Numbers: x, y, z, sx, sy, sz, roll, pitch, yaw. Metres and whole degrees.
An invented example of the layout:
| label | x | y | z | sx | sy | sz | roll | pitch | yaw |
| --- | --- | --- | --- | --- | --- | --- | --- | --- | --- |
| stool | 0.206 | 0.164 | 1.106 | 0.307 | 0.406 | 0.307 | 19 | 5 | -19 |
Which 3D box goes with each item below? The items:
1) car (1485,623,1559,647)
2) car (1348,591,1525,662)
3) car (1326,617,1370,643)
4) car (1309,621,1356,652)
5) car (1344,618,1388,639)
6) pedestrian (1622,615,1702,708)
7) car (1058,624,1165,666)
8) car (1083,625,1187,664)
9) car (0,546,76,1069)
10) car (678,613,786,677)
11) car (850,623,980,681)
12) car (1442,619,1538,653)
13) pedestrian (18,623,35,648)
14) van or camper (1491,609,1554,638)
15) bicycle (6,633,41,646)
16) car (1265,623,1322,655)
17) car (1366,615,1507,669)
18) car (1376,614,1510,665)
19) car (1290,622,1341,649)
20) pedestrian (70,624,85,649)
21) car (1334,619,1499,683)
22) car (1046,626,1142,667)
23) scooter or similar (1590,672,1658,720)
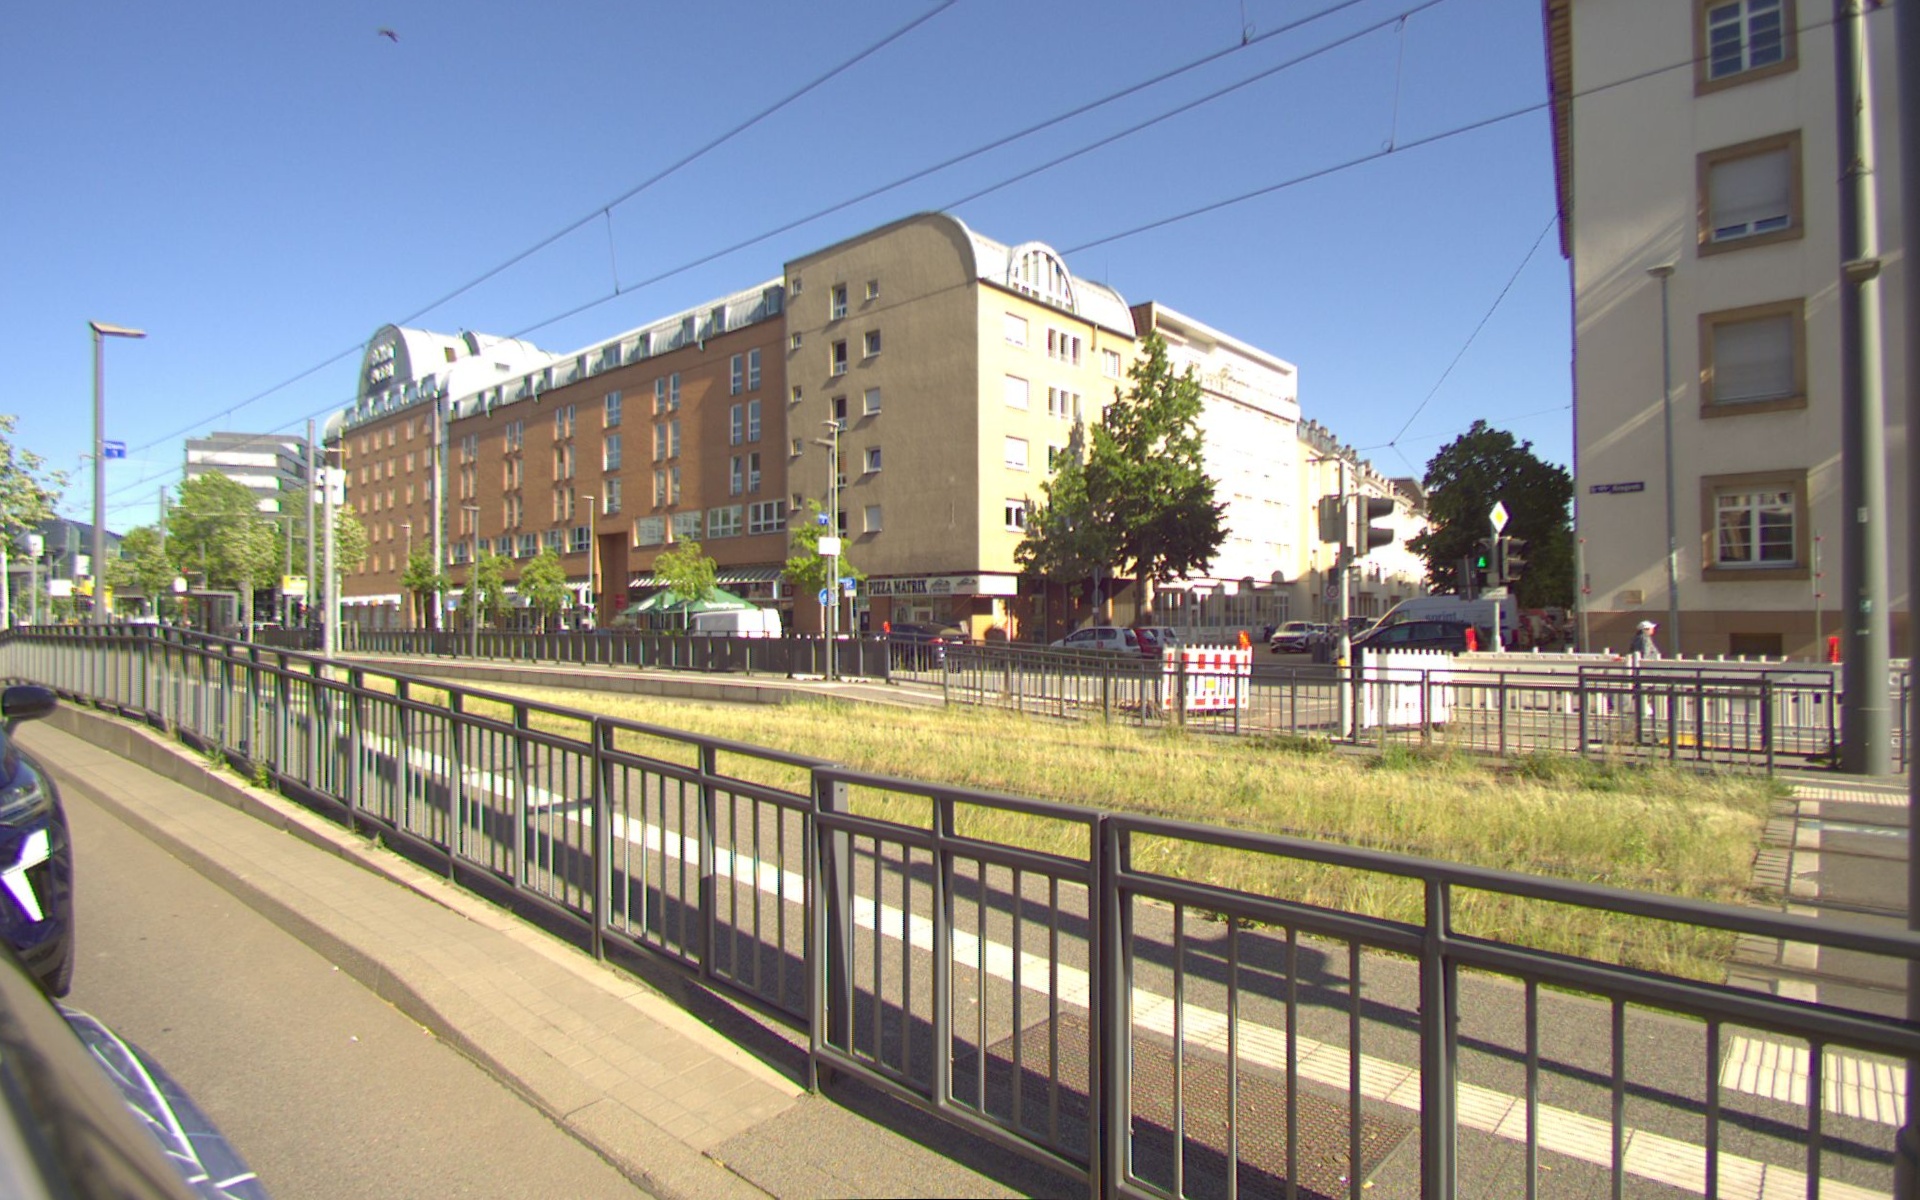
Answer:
| label | x | y | z | sx | sy | sz | roll | pitch | yaw |
| --- | --- | --- | --- | --- | --- | --- | --- | --- | --- |
| car | 35.009 | 2.160 | 63.060 | 3.986 | 1.440 | 1.760 | -1 | 0 | 32 |
| car | 17.641 | 0.957 | 37.591 | 5.737 | 2.473 | 1.979 | -1 | 0 | 32 |
| car | 25.291 | 1.969 | 65.875 | 1.993 | 1.630 | 4.141 | -1 | -2 | 31 |
| car | 22.795 | 2.186 | 61.828 | 1.839 | 1.730 | 4.033 | -1 | 0 | 34 |
| car | 28.278 | 1.999 | 70.444 | 1.995 | 1.473 | 4.137 | -1 | -2 | 34 |
| pedestrian | 11.777 | 1.020 | 16.991 | 0.793 | 1.515 | 0.713 | 0 | -2 | -12 |
| car | 6.019 | 1.756 | 40.389 | 3.955 | 1.564 | 1.457 | -1 | 0 | 33 |
| car | 7.328 | 1.835 | 42.607 | 3.997 | 1.497 | 1.693 | -1 | 0 | 40 |
| car | -5.063 | 0.704 | 4.018 | 4.418 | 1.597 | 1.736 | -2 | 1 | 41 |
| car | -9.094 | 1.694 | 40.021 | 1.969 | 2.314 | 5.197 | -1 | 0 | -41 |
| car | -1.467 | 1.585 | 32.016 | 3.996 | 1.652 | 1.677 | -1 | 0 | 39 |
| car | 25.746 | 1.706 | 49.199 | 3.988 | 1.567 | 1.848 | -1 | 0 | 33 |
| pedestrian | -72.329 | 2.756 | 78.439 | 0.595 | 1.903 | 0.739 | -1 | -2 | 12 |
| van or camper | 44.862 | 1.877 | 80.774 | 4.332 | 2.231 | 1.931 | -1 | 0 | 32 |
| bicycle | -75.235 | 3.196 | 81.312 | 0.645 | 1.026 | 2.018 | -2 | -2 | 40 |
| car | 17.731 | 2.067 | 53.720 | 1.993 | 1.630 | 4.141 | -1 | -2 | 31 |
| car | 15.693 | 1.345 | 33.392 | 3.989 | 1.652 | 1.848 | -1 | 0 | 34 |
| car | 16.820 | 1.329 | 35.280 | 3.989 | 1.652 | 1.848 | -1 | 0 | 34 |
| car | 20.512 | 2.050 | 58.300 | 1.993 | 1.457 | 4.141 | -1 | -2 | 31 |
| pedestrian | -68.523 | 2.814 | 78.575 | 0.809 | 1.903 | 0.770 | 1 | -2 | -40 |
| car | 12.965 | 1.383 | 28.828 | 3.994 | 1.652 | 1.846 | -1 | 0 | 38 |
| car | 5.087 | 1.743 | 38.365 | 3.334 | 1.438 | 1.424 | -1 | 0 | 29 |
| scooter or similar | 11.058 | 1.589 | 16.858 | 0.597 | 0.725 | 0.713 | 0 | -2 | -13 |
